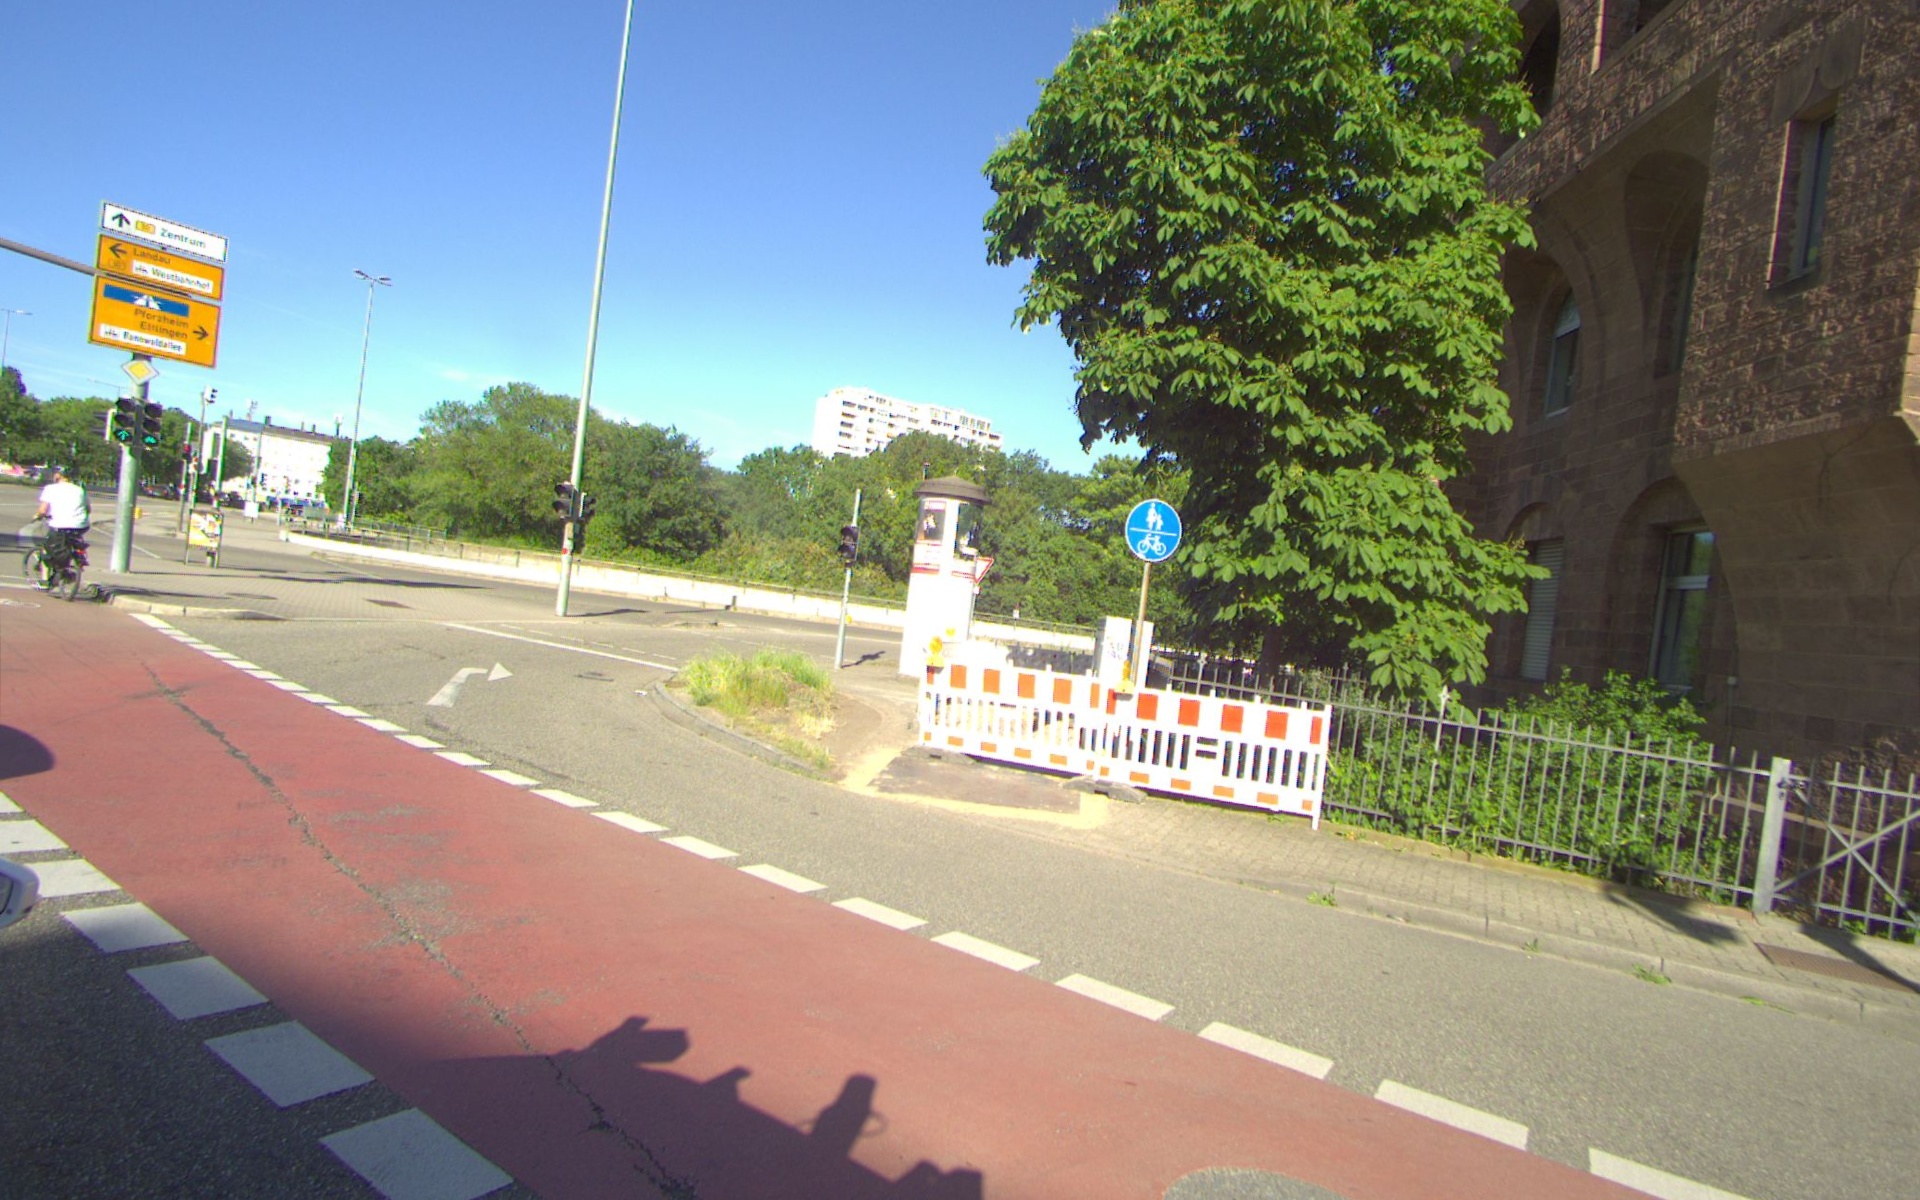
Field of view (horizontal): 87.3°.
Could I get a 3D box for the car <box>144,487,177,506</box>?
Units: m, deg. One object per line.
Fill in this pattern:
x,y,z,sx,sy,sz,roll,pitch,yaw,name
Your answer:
-82.747,-10.665,104.181,1.931,1.547,4.064,7,0,-30,car

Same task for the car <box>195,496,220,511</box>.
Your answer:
-97.371,-12.531,130.236,1.930,1.547,4.065,7,0,-29,car

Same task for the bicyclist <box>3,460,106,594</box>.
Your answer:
-12.551,-1.009,13.934,1.096,1.680,0.724,9,1,37,bicyclist

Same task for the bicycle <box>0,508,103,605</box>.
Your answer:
-12.646,-0.613,13.968,1.798,1.115,0.691,8,0,37,bicycle

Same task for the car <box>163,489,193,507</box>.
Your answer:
-85.781,-11.130,110.382,1.930,1.547,4.065,7,0,-29,car
